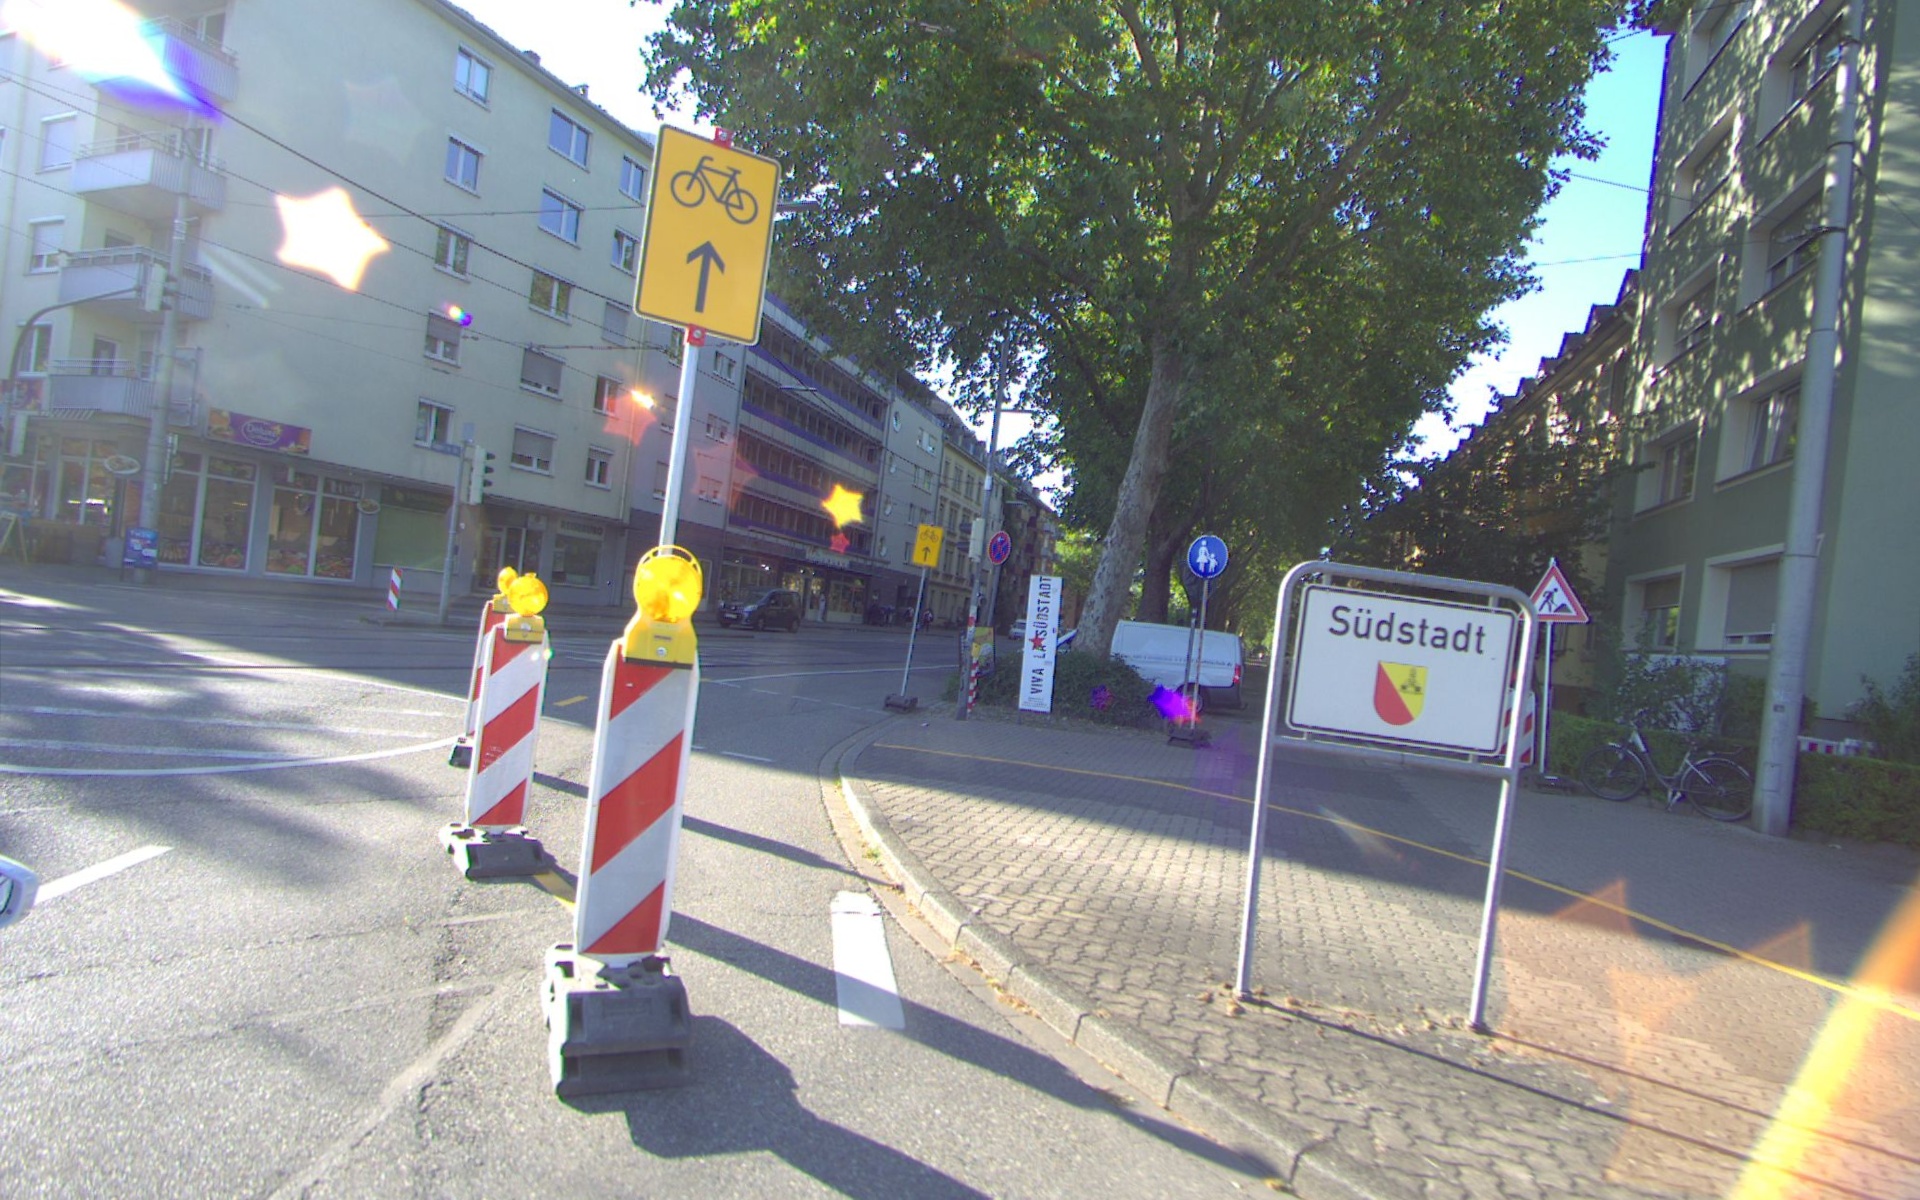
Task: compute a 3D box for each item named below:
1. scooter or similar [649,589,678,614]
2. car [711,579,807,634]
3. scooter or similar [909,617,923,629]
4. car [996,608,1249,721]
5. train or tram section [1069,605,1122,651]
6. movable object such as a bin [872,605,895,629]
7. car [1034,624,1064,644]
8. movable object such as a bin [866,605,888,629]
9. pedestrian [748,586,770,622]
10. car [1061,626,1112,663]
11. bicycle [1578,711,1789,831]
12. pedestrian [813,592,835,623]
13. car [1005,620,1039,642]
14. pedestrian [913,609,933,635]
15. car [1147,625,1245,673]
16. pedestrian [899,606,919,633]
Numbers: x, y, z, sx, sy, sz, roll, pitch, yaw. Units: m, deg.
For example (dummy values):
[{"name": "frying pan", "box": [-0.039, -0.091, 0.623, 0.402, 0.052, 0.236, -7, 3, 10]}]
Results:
[{"name": "scooter or similar", "box": [-12.421, 0.074, 42.179, 0.459, 0.965, 1.432, 6, -1, 10]}, {"name": "car", "box": [-7.953, 0.329, 40.296, 1.879, 1.828, 4.364, 7, -1, 15]}, {"name": "scooter or similar", "box": [-2.901, 1.529, 66.605, 0.615, 0.656, 0.766, 7, 0, 17]}, {"name": "car", "box": [3.579, 1.377, 22.047, 5.138, 1.847, 1.932, 5, -2, 16]}, {"name": "train or tram section", "box": [12.764, 2.741, 93.786, 2.816, 3.682, 13.206, 7, -1, 15]}, {"name": "movable object such as a bin", "box": [-5.100, 1.171, 67.318, 0.997, 1.445, 1.257, 7, 0, 17]}, {"name": "car", "box": [8.423, 3.199, 95.215, 1.864, 1.583, 4.395, 7, -1, 16]}, {"name": "movable object such as a bin", "box": [-5.456, 1.129, 65.925, 0.996, 1.446, 1.145, 7, 0, 12]}, {"name": "pedestrian", "box": [-9.928, 0.185, 49.792, 0.653, 1.668, 0.625, 7, 0, 27]}, {"name": "car", "box": [6.861, 2.434, 54.279, 1.864, 1.582, 4.397, 8, -1, 17]}, {"name": "bicycle", "box": [8.572, 2.003, 12.024, 0.515, 1.069, 1.920, 7, -1, -29]}, {"name": "pedestrian", "box": [-7.885, 0.445, 58.438, 1.014, 1.683, 1.227, 7, 0, -2]}, {"name": "car", "box": [5.275, 2.624, 85.120, 1.864, 1.583, 4.395, 7, -1, 16]}, {"name": "pedestrian", "box": [-2.443, 1.460, 67.335, 0.878, 1.644, 1.035, 7, 0, 17]}, {"name": "car", "box": [15.391, 3.182, 65.506, 5.853, 2.395, 2.061, 7, 0, 18]}, {"name": "pedestrian", "box": [-3.410, 1.307, 67.330, 0.878, 1.644, 1.035, 7, 0, 17]}]
